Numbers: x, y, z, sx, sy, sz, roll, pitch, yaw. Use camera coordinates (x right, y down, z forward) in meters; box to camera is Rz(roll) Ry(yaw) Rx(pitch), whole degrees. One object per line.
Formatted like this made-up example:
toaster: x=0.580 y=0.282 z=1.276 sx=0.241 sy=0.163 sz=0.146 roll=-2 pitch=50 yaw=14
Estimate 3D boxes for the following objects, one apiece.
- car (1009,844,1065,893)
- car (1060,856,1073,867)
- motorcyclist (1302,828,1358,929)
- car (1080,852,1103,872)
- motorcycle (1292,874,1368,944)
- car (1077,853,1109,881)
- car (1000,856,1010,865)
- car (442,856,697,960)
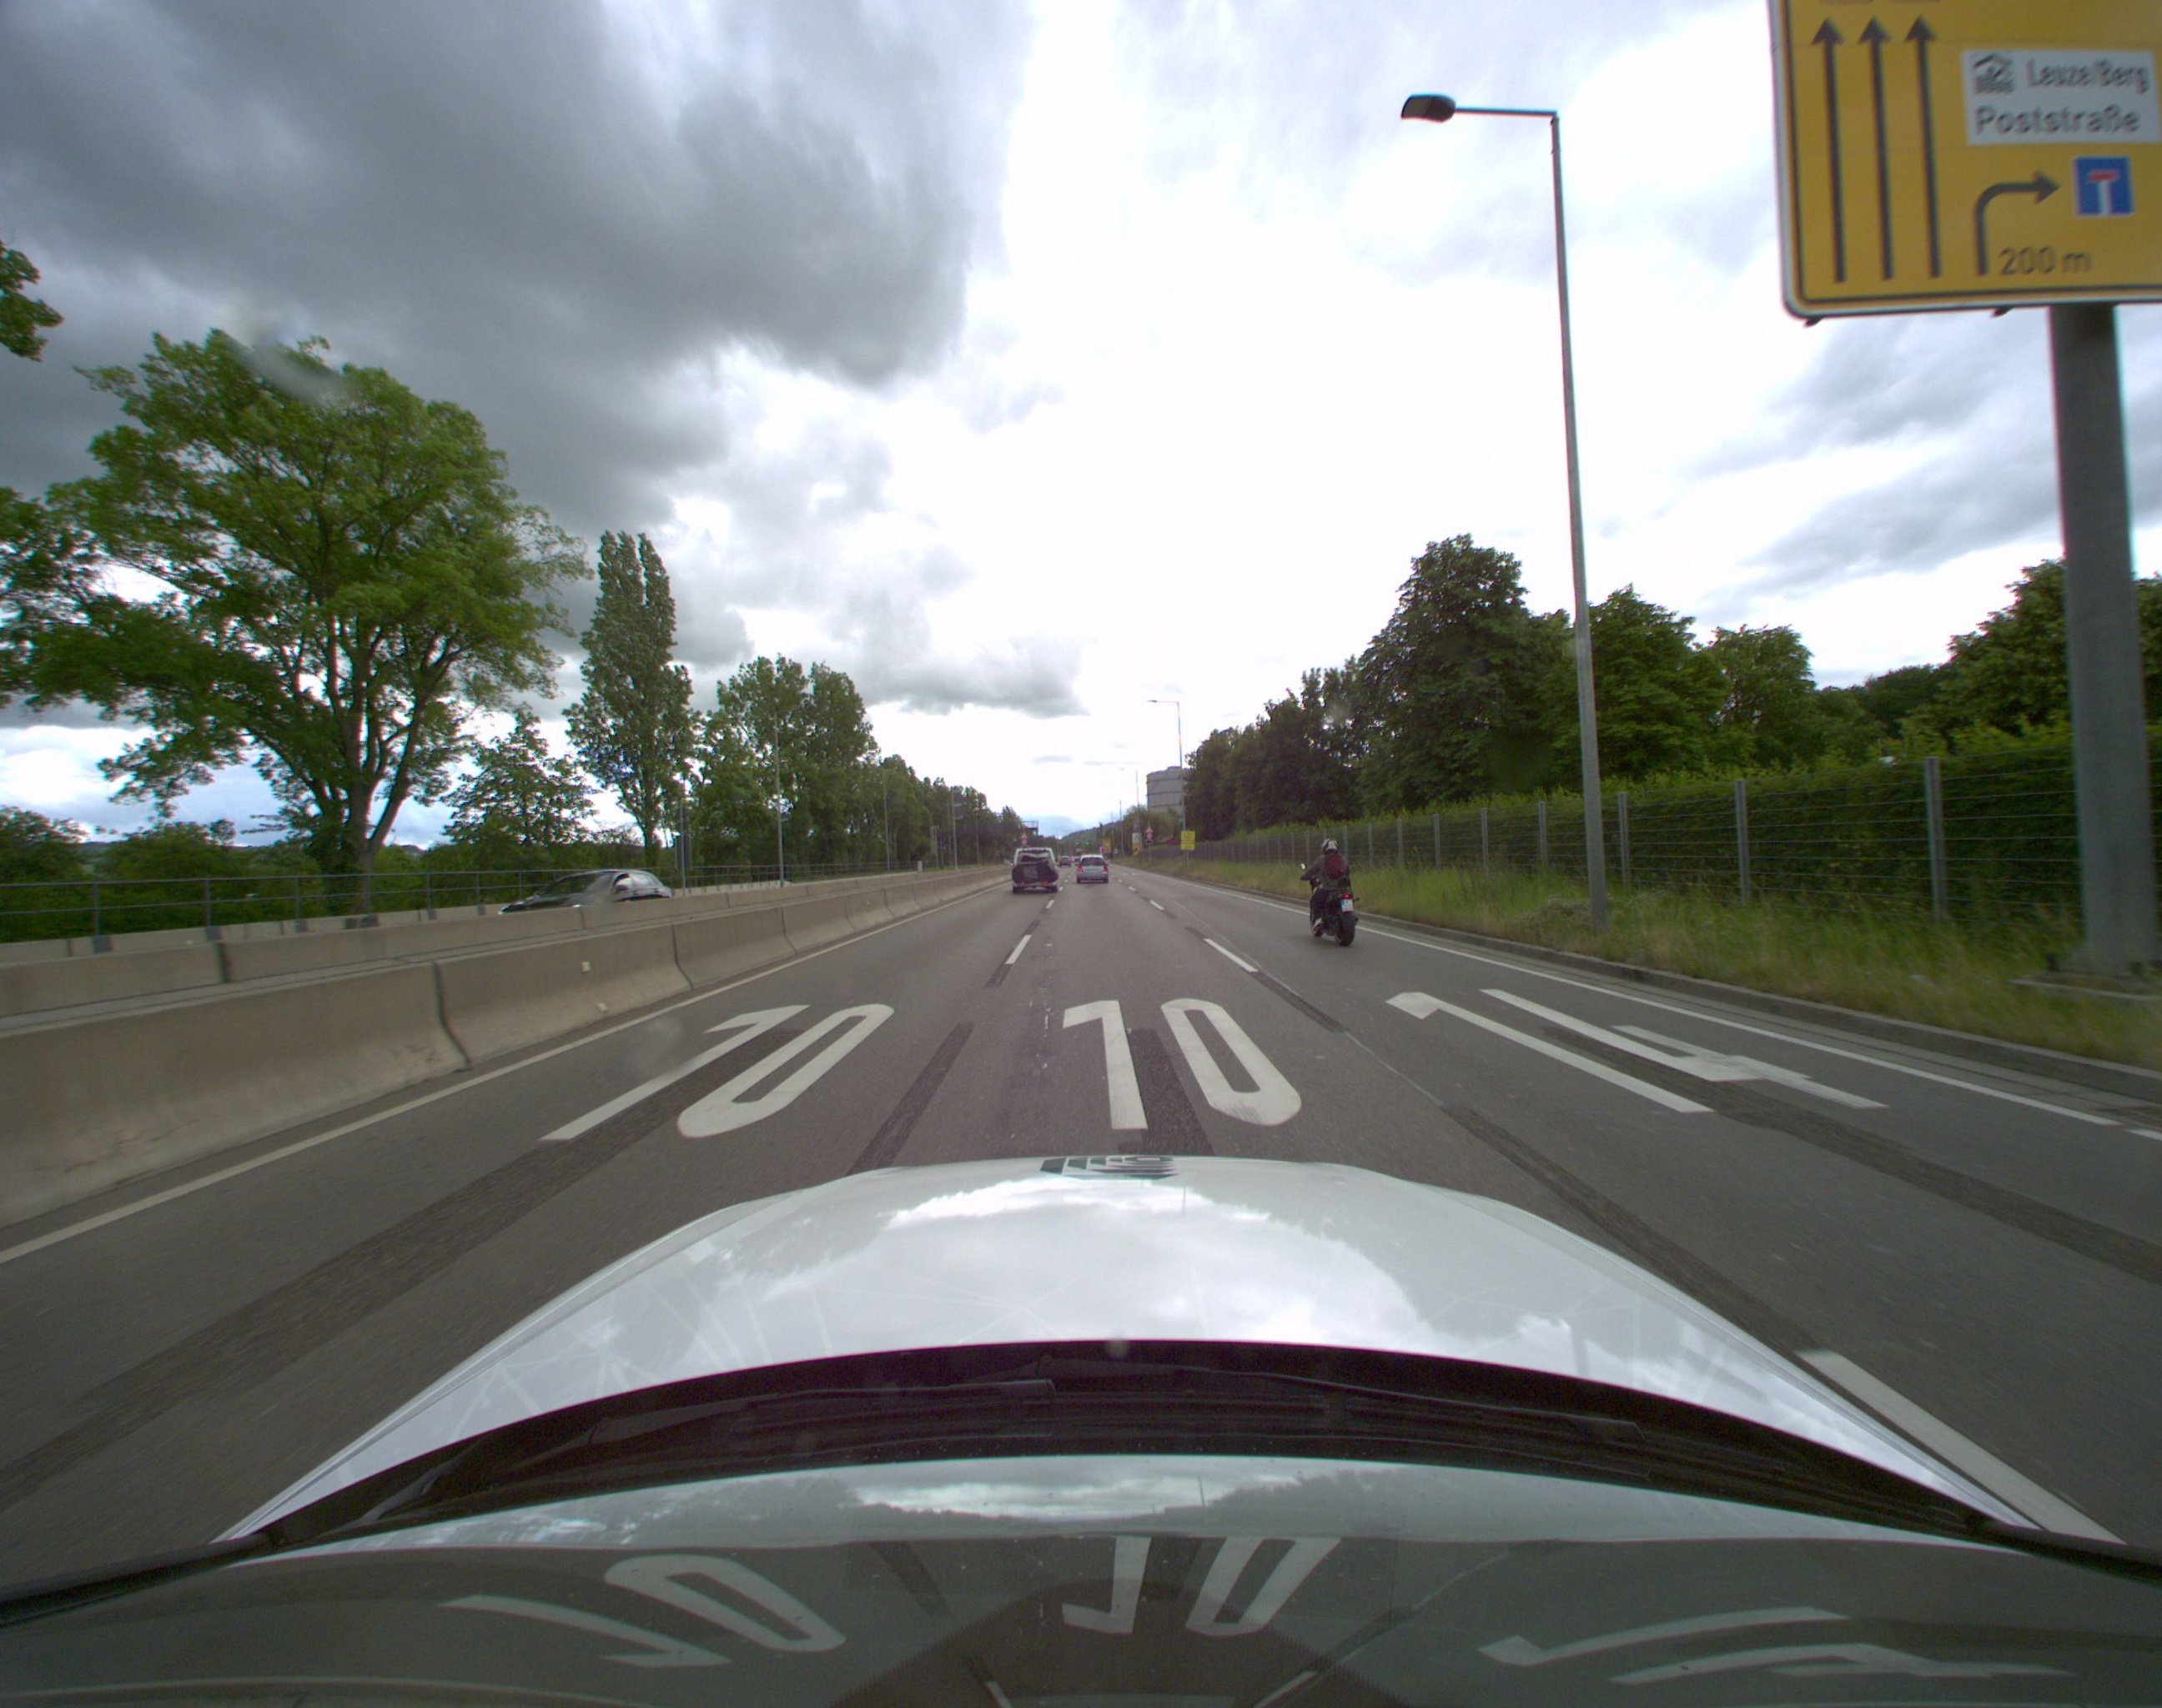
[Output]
car: x=-1.899 y=0.575 z=34.625 sx=2.210 sy=1.926 sz=4.995 roll=0 pitch=0 yaw=-4
car: x=-2.184 y=1.143 z=125.203 sx=1.988 sy=1.552 sz=3.998 roll=0 pitch=0 yaw=-1
motorcyclist: x=4.095 y=0.393 z=13.440 sx=0.682 sy=1.610 sz=0.845 roll=0 pitch=-1 yaw=2
car: x=0.885 y=0.666 z=70.667 sx=1.901 sy=1.684 sz=4.000 roll=0 pitch=0 yaw=0
motorcycle: x=4.101 y=0.872 z=13.553 sx=0.704 sy=1.040 sz=2.028 roll=0 pitch=0 yaw=2
car: x=0.656 y=0.714 z=46.173 sx=1.705 sy=1.530 sz=3.999 roll=0 pitch=0 yaw=0
car: x=-17.310 y=1.416 z=186.201 sx=1.988 sy=2.014 sz=3.997 roll=0 pitch=0 yaw=-2
car: x=-10.717 y=1.027 z=17.703 sx=2.321 sy=1.926 sz=5.002 roll=0 pitch=0 yaw=1
